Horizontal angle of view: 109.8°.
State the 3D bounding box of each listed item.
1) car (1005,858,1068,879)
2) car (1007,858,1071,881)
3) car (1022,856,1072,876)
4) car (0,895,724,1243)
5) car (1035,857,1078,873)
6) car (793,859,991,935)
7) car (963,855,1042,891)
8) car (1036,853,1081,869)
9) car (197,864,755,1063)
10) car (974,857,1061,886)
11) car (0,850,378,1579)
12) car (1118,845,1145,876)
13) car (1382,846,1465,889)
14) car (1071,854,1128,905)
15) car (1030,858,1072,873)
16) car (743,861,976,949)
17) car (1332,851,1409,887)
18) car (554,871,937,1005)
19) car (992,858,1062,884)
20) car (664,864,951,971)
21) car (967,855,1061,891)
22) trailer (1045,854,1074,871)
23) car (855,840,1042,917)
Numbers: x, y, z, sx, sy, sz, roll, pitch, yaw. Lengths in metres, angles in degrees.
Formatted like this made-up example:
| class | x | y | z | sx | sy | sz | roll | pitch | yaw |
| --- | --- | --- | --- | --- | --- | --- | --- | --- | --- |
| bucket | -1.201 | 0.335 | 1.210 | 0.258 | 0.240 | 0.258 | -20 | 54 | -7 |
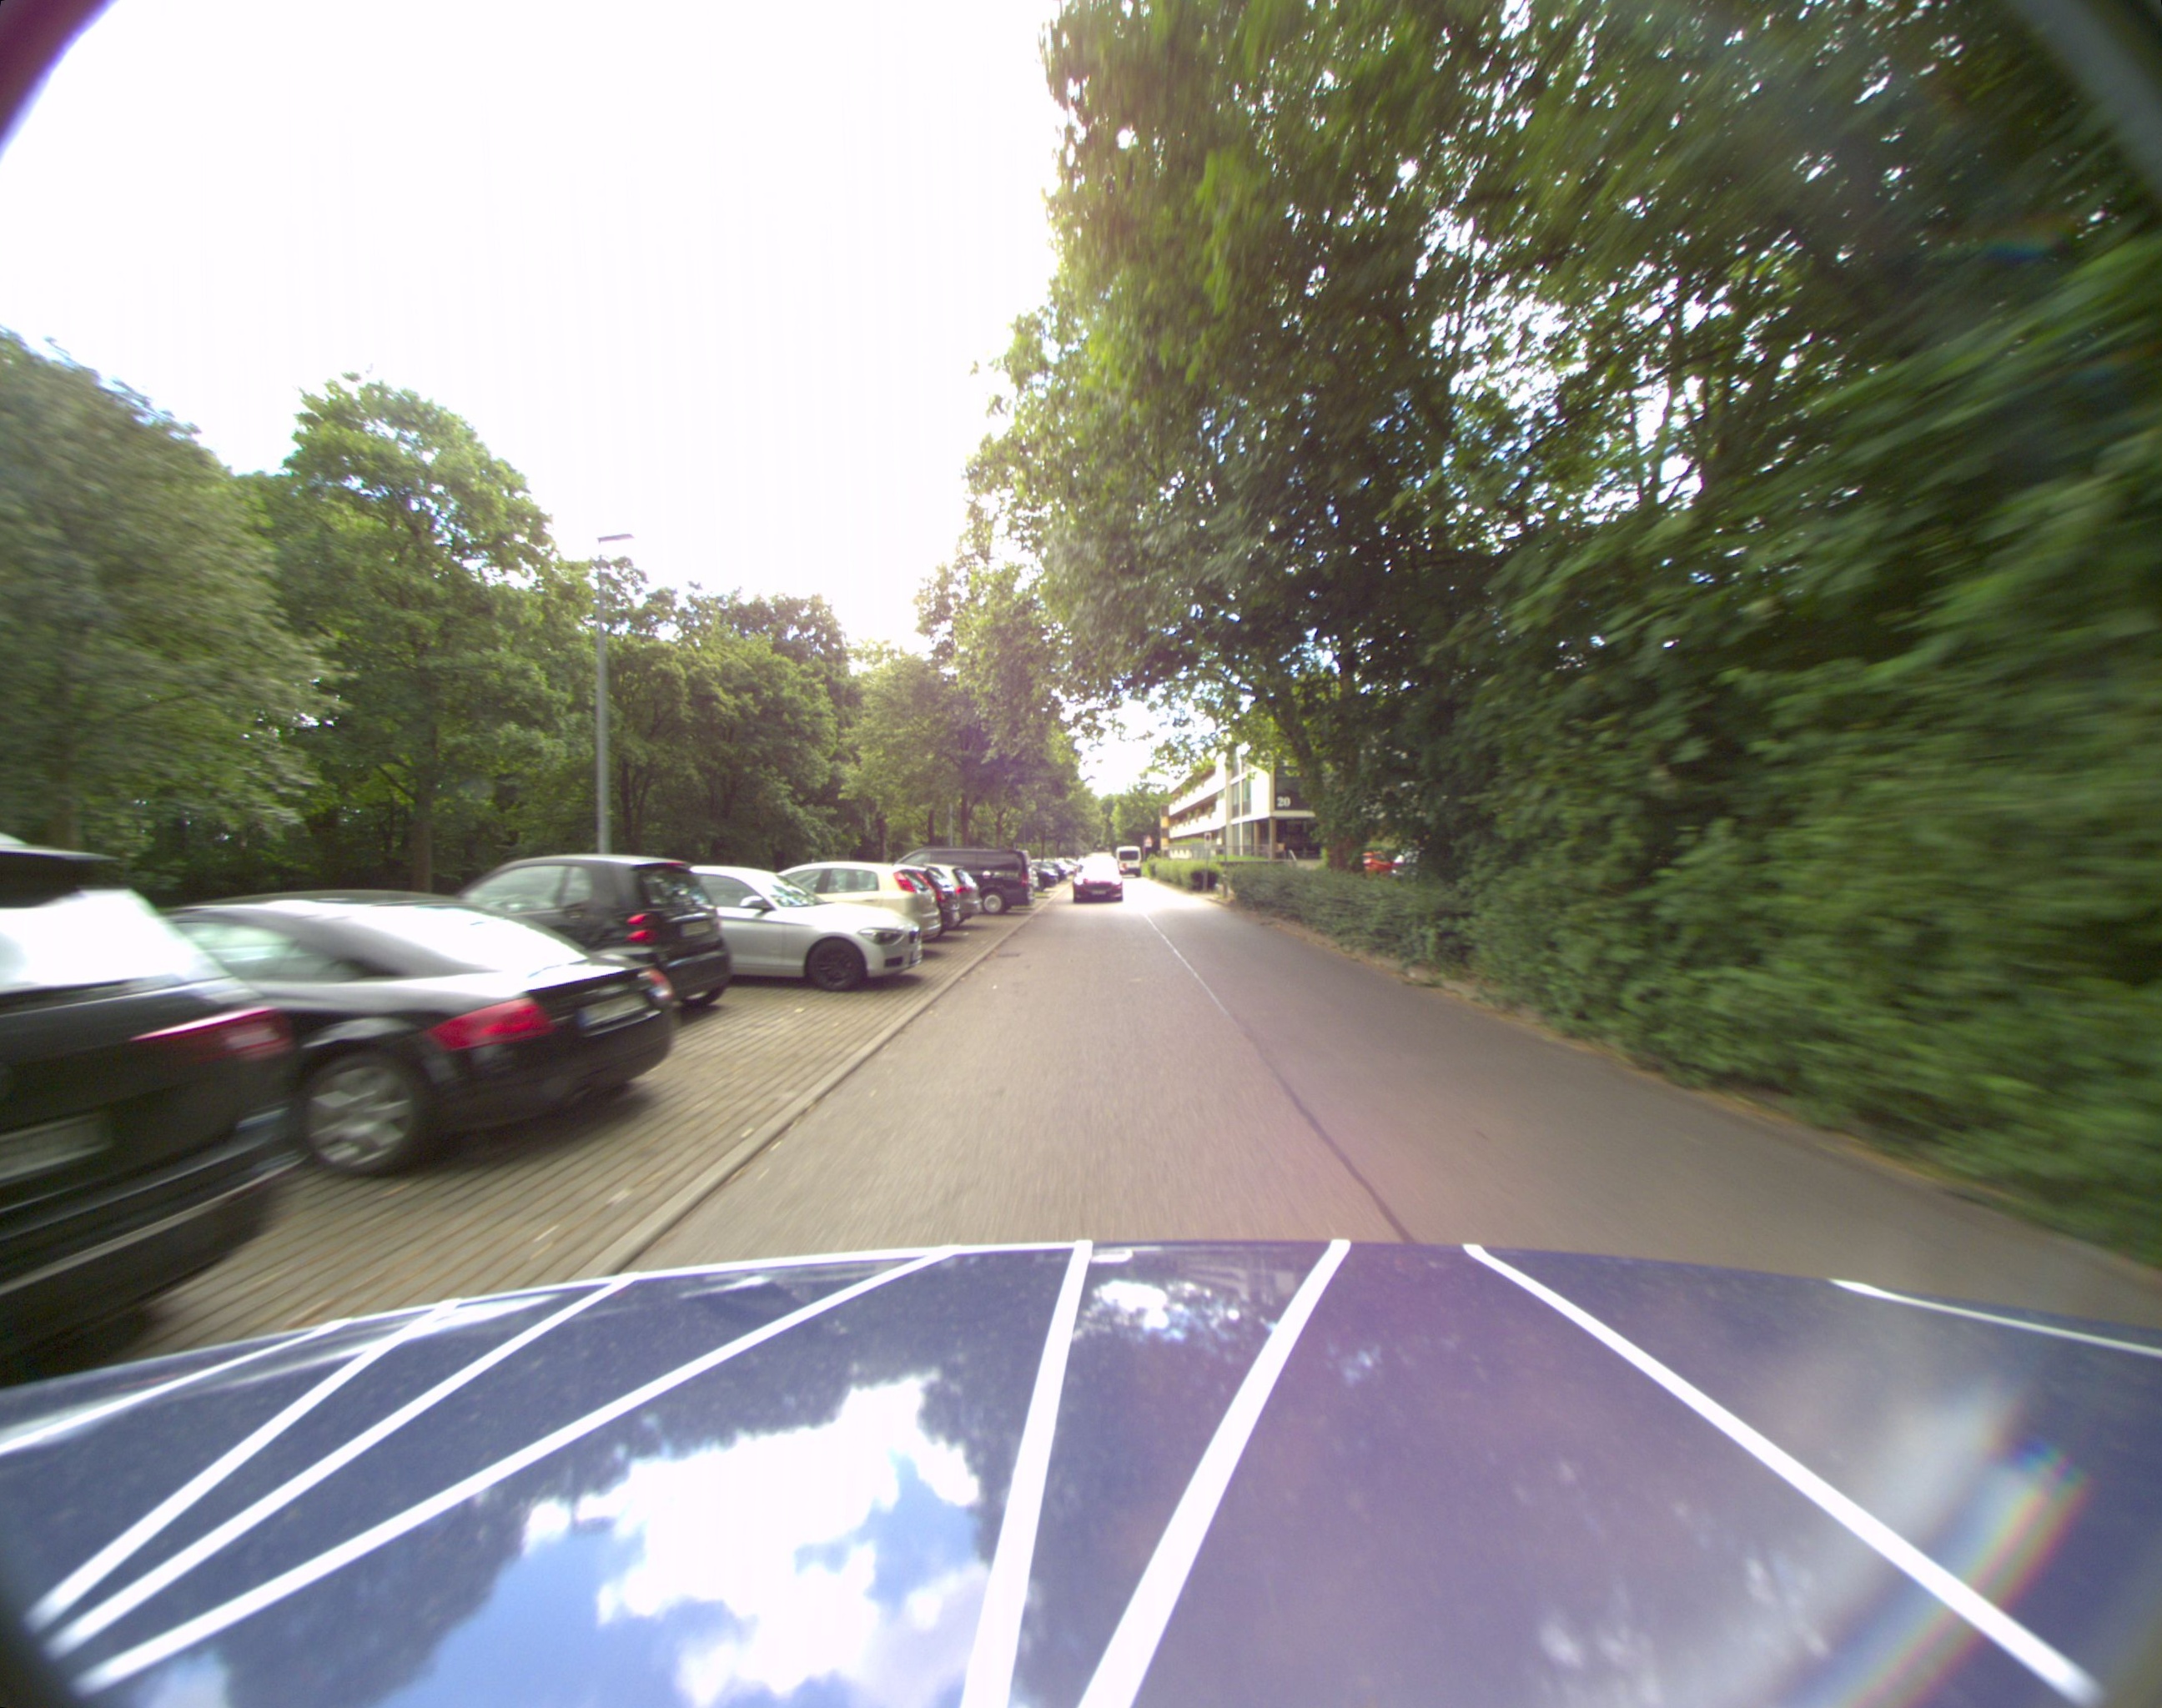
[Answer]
| class | x | y | z | sx | sy | sz | roll | pitch | yaw |
| --- | --- | --- | --- | --- | --- | --- | --- | --- | --- |
| car | -3.249 | 1.077 | 56.112 | 4.496 | 1.446 | 1.846 | 1 | 0 | 1 |
| car | -2.793 | 1.038 | 50.643 | 4.082 | 1.448 | 1.851 | 1 | 0 | 2 |
| car | -2.736 | 0.977 | 61.853 | 3.848 | 1.507 | 1.881 | 1 | 0 | 4 |
| car | -4.415 | 1.006 | 4.410 | 3.840 | 1.351 | 1.822 | 1 | 1 | 5 |
| car | -2.399 | 1.070 | 74.754 | 4.123 | 1.539 | 1.860 | 1 | 0 | -1 |
| car | -4.178 | 0.926 | 17.198 | 3.970 | 1.502 | 1.794 | 1 | 0 | 3 |
| car | -3.592 | 0.878 | 35.195 | 3.387 | 1.565 | 1.797 | 1 | 0 | 2 |
| car | -2.465 | 0.789 | 85.115 | 4.828 | 1.683 | 1.974 | 1 | 0 | 5 |
| car | -5.397 | 0.910 | 7.184 | 3.841 | 1.549 | 1.819 | 1 | 1 | 1 |
| car | -3.517 | 0.981 | 42.974 | 4.647 | 1.508 | 1.983 | 1 | 0 | 3 |
| car | -4.523 | 0.808 | 1.757 | 4.132 | 1.640 | 1.980 | 1 | 1 | 5 |
| car | 4.260 | 0.513 | 64.711 | 2.137 | 2.461 | 6.278 | -2 | 0 | 3 |
| car | 14.177 | 0.508 | 31.352 | 1.820 | 1.601 | 4.008 | -1 | 1 | 44 |
| car | 0.696 | 0.898 | 29.025 | 1.918 | 1.707 | 5.039 | -2 | 0 | 1 |
| car | -2.875 | 1.074 | 72.346 | 4.019 | 1.414 | 1.791 | 1 | 0 | -4 |
| car | -4.221 | 0.933 | 14.861 | 3.970 | 1.502 | 1.764 | 1 | 0 | 4 |
| car | 12.874 | 0.631 | 33.669 | 1.744 | 1.422 | 4.008 | -1 | 1 | 44 |
| car | -4.031 | 0.978 | 9.661 | 3.996 | 1.422 | 1.935 | 1 | 1 | 1 |
| car | -3.218 | 1.010 | 45.810 | 4.083 | 1.508 | 1.851 | 1 | 0 | -2 |
| car | -4.294 | 0.967 | 12.359 | 3.996 | 1.519 | 1.811 | 1 | 1 | 2 |
| car | -3.273 | 0.939 | 37.776 | 4.426 | 1.666 | 2.082 | 1 | 0 | 1 |
| trailer | -2.241 | 0.898 | 79.997 | 3.037 | 1.780 | 1.563 | 1 | 0 | -1 |
| car | -3.759 | 0.671 | 22.221 | 4.965 | 2.002 | 2.166 | 1 | 0 | 3 |
